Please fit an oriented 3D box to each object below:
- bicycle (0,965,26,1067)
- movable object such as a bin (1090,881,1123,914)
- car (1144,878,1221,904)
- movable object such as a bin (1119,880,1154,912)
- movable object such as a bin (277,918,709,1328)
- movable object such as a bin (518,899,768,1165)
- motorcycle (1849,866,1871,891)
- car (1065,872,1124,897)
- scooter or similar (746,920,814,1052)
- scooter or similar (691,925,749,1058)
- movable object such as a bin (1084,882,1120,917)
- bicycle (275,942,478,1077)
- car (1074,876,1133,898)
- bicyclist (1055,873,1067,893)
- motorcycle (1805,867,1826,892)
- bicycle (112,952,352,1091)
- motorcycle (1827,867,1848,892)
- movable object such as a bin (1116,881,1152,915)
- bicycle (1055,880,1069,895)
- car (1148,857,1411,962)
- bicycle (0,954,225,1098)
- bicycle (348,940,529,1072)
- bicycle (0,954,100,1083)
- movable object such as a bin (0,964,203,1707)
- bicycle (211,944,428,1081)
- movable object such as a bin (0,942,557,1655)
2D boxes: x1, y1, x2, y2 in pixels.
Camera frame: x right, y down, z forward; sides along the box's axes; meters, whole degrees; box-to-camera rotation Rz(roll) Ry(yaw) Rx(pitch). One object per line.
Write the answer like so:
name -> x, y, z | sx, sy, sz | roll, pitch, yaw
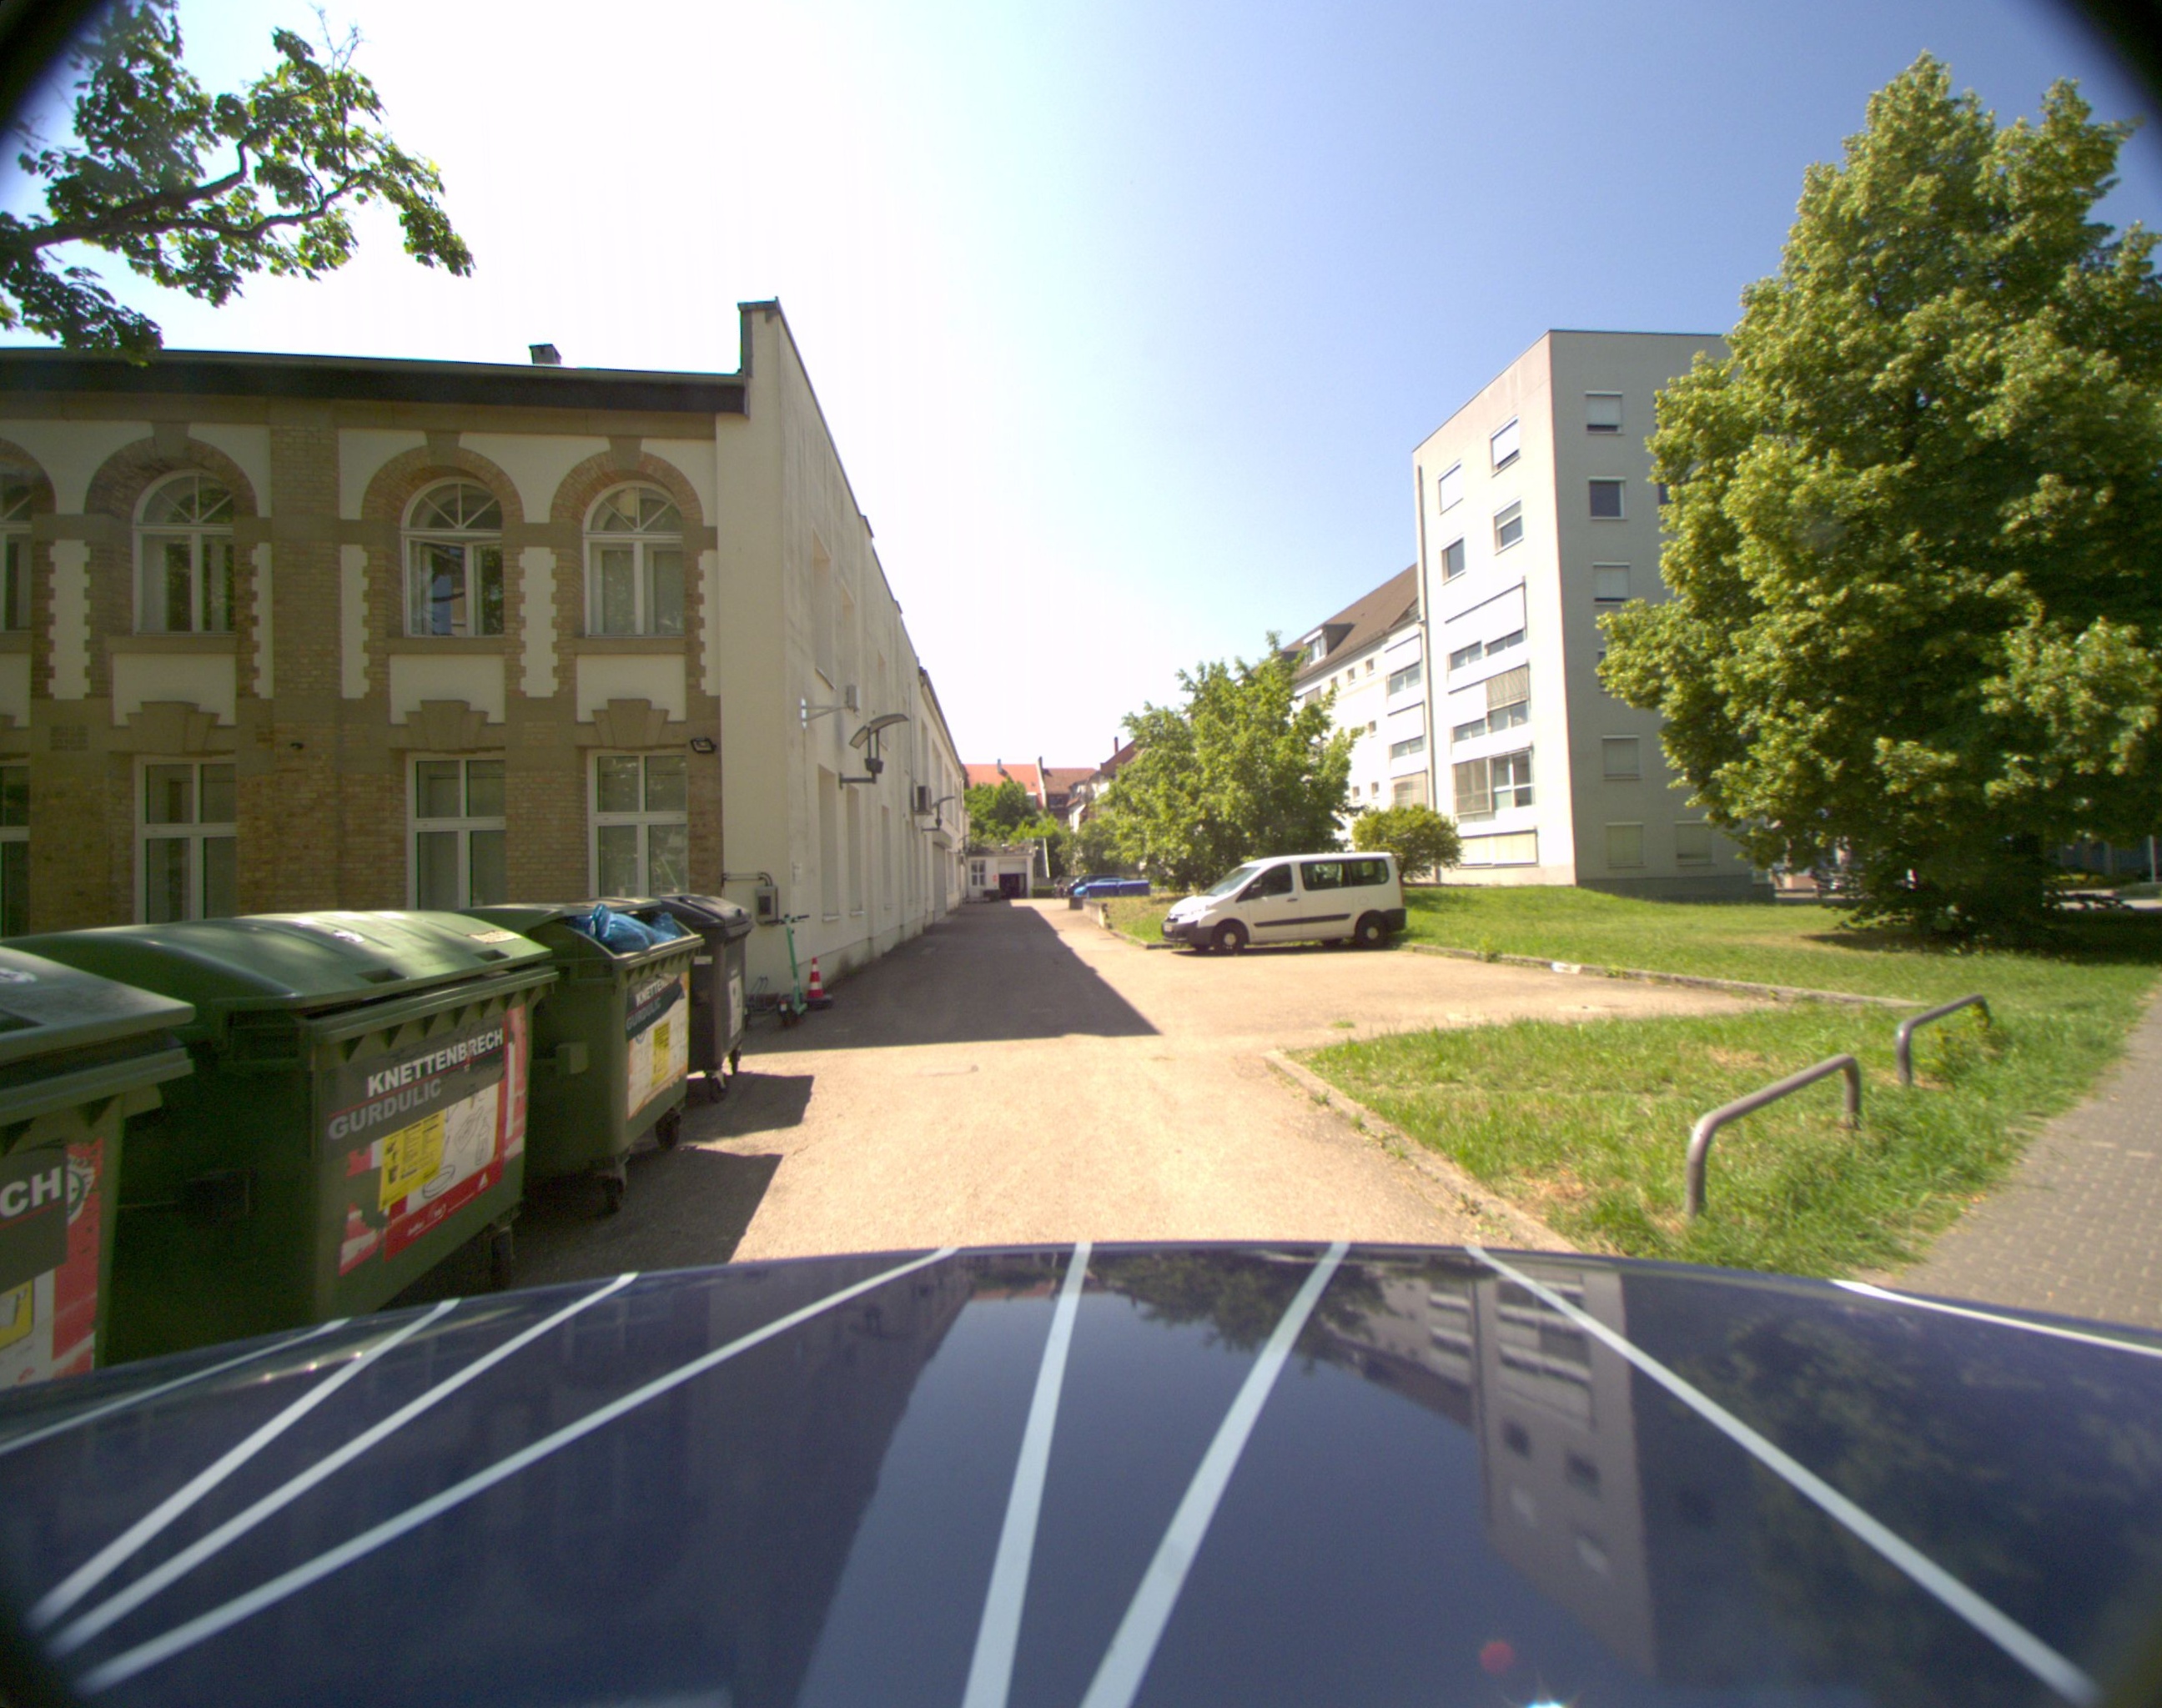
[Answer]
bicycle -> -11.735, 1.730, 7.373 | 0.523, 1.063, 1.835 | -2, -1, -5
movable object such as a bin -> 1.078, 1.848, 32.460 | 1.258, 1.319, 1.104 | -2, -1, -6
car -> 5.813, 2.101, 43.695 | 4.000, 1.427, 1.710 | -1, -2, -9
movable object such as a bin -> 2.379, 1.801, 32.639 | 1.258, 1.319, 1.104 | -2, -1, -6
movable object such as a bin -> -2.683, 1.124, 3.750 | 1.183, 1.461, 1.310 | -2, 0, -12
movable object such as a bin -> -3.006, 1.132, 5.460 | 1.159, 1.496, 1.461 | -2, 0, -15
motorcycle -> 38.203, 1.196, 37.280 | 0.698, 1.160, 2.337 | -3, -1, 45
car -> 1.070, 2.459, 61.211 | 4.451, 1.821, 1.999 | -2, -1, -9
scooter or similar -> -3.152, 1.332, 8.037 | 0.465, 1.166, 1.356 | -2, -1, -14
scooter or similar -> -3.727, 1.370, 7.896 | 0.465, 1.166, 1.254 | -1, -1, -23
movable object such as a bin -> 0.825, 1.811, 30.645 | 1.258, 1.319, 1.104 | -2, -1, -6
bicycle -> -7.204, 1.533, 7.900 | 0.504, 1.061, 1.835 | -2, -2, -5
car -> 1.728, 2.530, 58.368 | 4.170, 1.544, 1.858 | -1, -1, -11
bicyclist -> -1.623, 2.391, 62.589 | 0.724, 1.599, 0.979 | -3, -1, 13
motorcycle -> 37.001, 1.275, 38.254 | 0.698, 1.160, 2.308 | -3, -1, 45
bicycle -> -8.516, 1.622, 7.753 | 0.504, 1.061, 1.835 | -2, -2, -5
motorcycle -> 37.607, 1.248, 37.769 | 0.698, 1.160, 2.316 | -3, -1, 45
movable object such as a bin -> 2.140, 1.763, 30.794 | 1.258, 1.319, 1.104 | -2, -1, -6
bicycle -> -1.583, 2.787, 62.616 | 0.645, 1.167, 1.907 | -2, -2, 14
car -> 4.003, 1.087, 15.702 | 4.805, 1.899, 1.999 | -1, -2, -11
bicycle -> -9.800, 1.639, 7.593 | 0.523, 1.096, 1.835 | -2, -2, -5
bicycle -> -6.649, 1.515, 7.992 | 0.455, 1.061, 1.835 | -2, -2, -5
bicycle -> -10.806, 1.644, 7.774 | 0.473, 1.096, 1.831 | -1, -2, -37
movable object such as a bin -> -2.431, 0.984, 0.926 | 1.183, 1.461, 1.310 | -2, 0, -11
bicycle -> -7.771, 1.560, 7.885 | 0.504, 1.061, 1.835 | -2, -1, -5
movable object such as a bin -> -2.647, 1.102, 2.362 | 1.183, 1.461, 1.310 | -2, 0, -10
